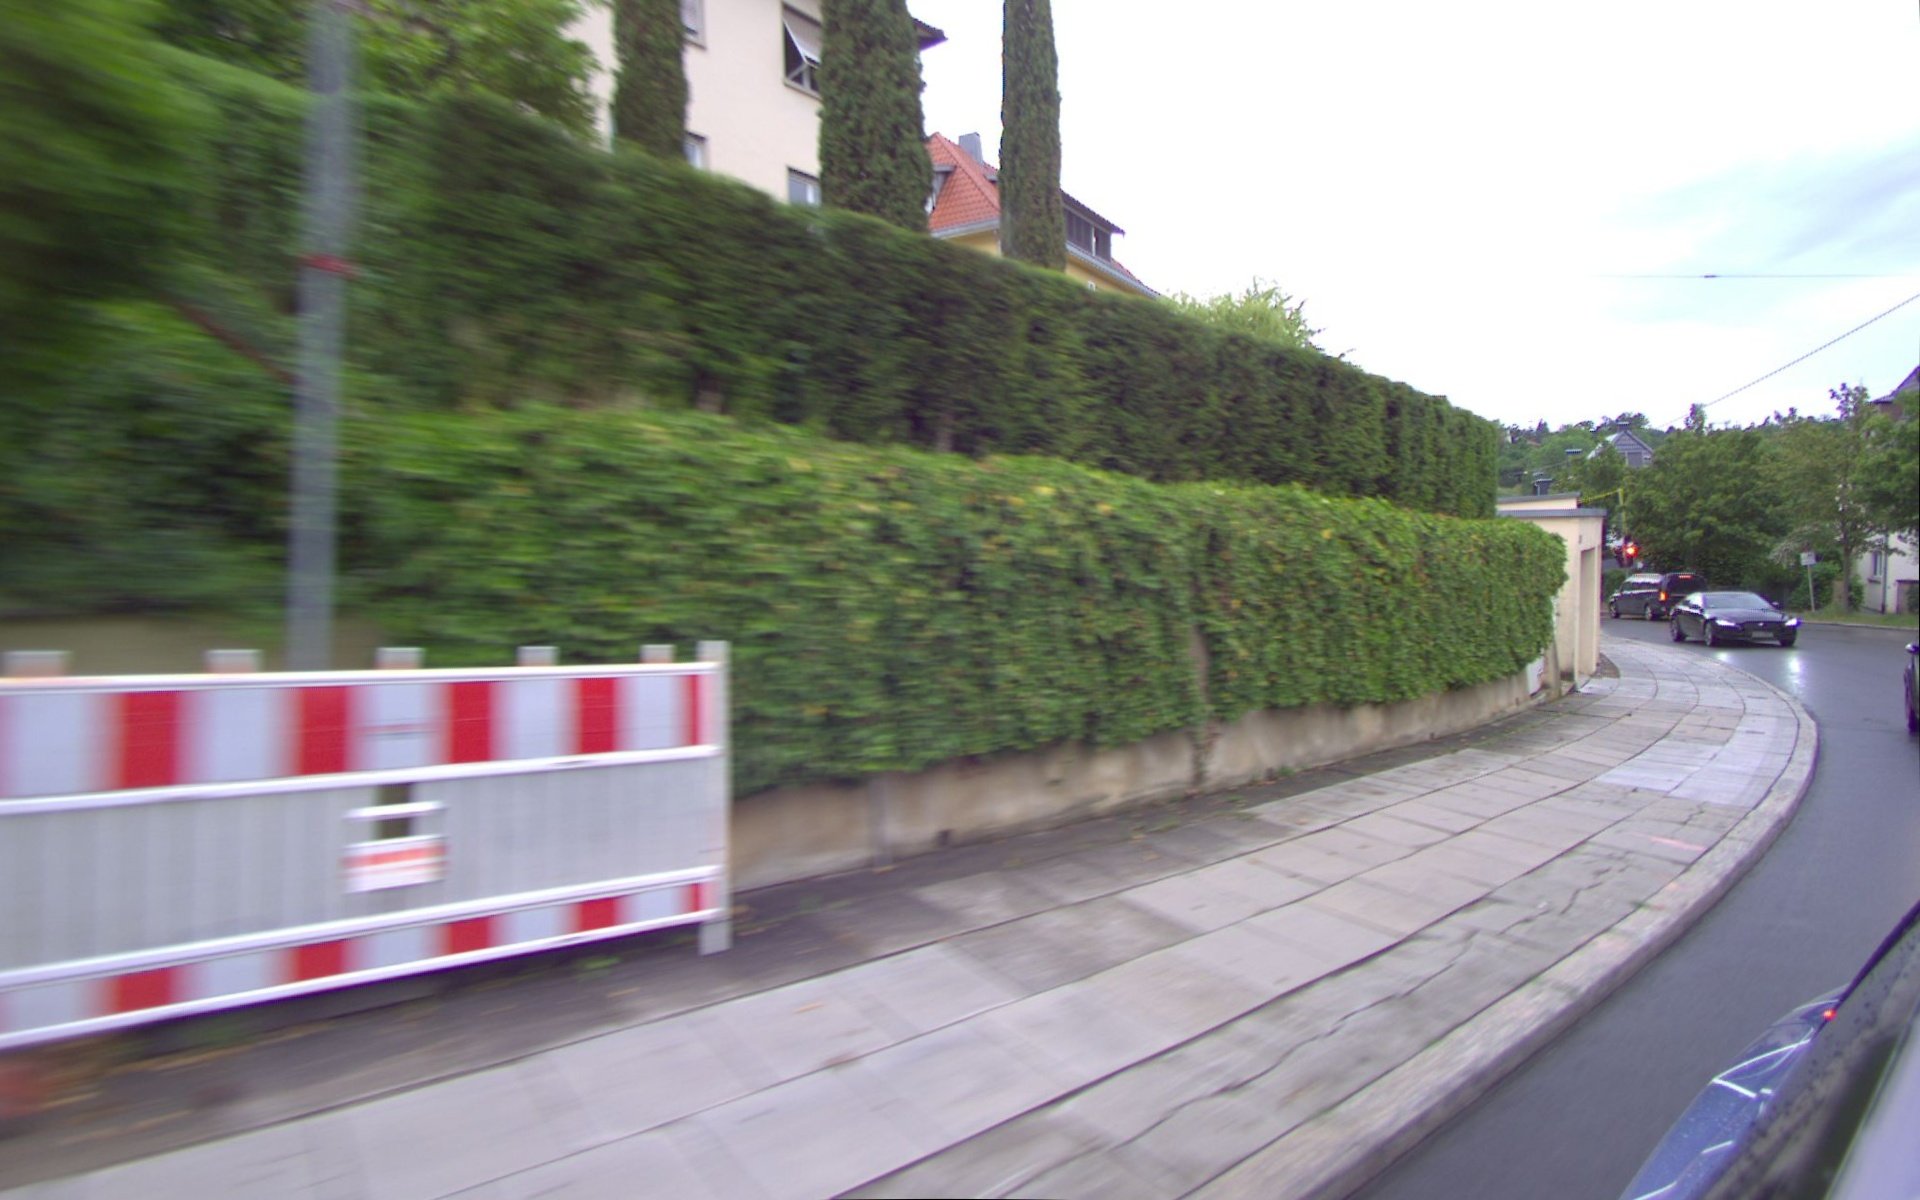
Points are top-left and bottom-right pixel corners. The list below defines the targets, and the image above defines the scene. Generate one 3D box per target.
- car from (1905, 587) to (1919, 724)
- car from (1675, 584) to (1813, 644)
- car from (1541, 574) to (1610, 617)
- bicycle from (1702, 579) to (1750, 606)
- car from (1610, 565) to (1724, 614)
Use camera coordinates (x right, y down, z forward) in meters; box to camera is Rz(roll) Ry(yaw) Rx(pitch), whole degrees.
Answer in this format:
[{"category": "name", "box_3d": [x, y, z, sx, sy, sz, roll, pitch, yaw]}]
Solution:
[{"category": "car", "box_3d": [10.588, 0.643, 9.836, 1.667, 1.484, 4.650, 1, 2, 39]}, {"category": "car", "box_3d": [20.829, 0.309, 27.094, 1.822, 1.420, 4.043, 1, 1, 22]}, {"category": "car", "box_3d": [26.094, -0.236, 43.025, 1.981, 1.730, 4.535, 1, 2, 25]}, {"category": "bicycle", "box_3d": [37.251, -0.342, 49.250, 0.482, 1.288, 2.274, -3, -1, -3]}, {"category": "car", "box_3d": [29.125, -0.455, 41.926, 1.872, 1.913, 5.138, 0, 1, 10]}]
